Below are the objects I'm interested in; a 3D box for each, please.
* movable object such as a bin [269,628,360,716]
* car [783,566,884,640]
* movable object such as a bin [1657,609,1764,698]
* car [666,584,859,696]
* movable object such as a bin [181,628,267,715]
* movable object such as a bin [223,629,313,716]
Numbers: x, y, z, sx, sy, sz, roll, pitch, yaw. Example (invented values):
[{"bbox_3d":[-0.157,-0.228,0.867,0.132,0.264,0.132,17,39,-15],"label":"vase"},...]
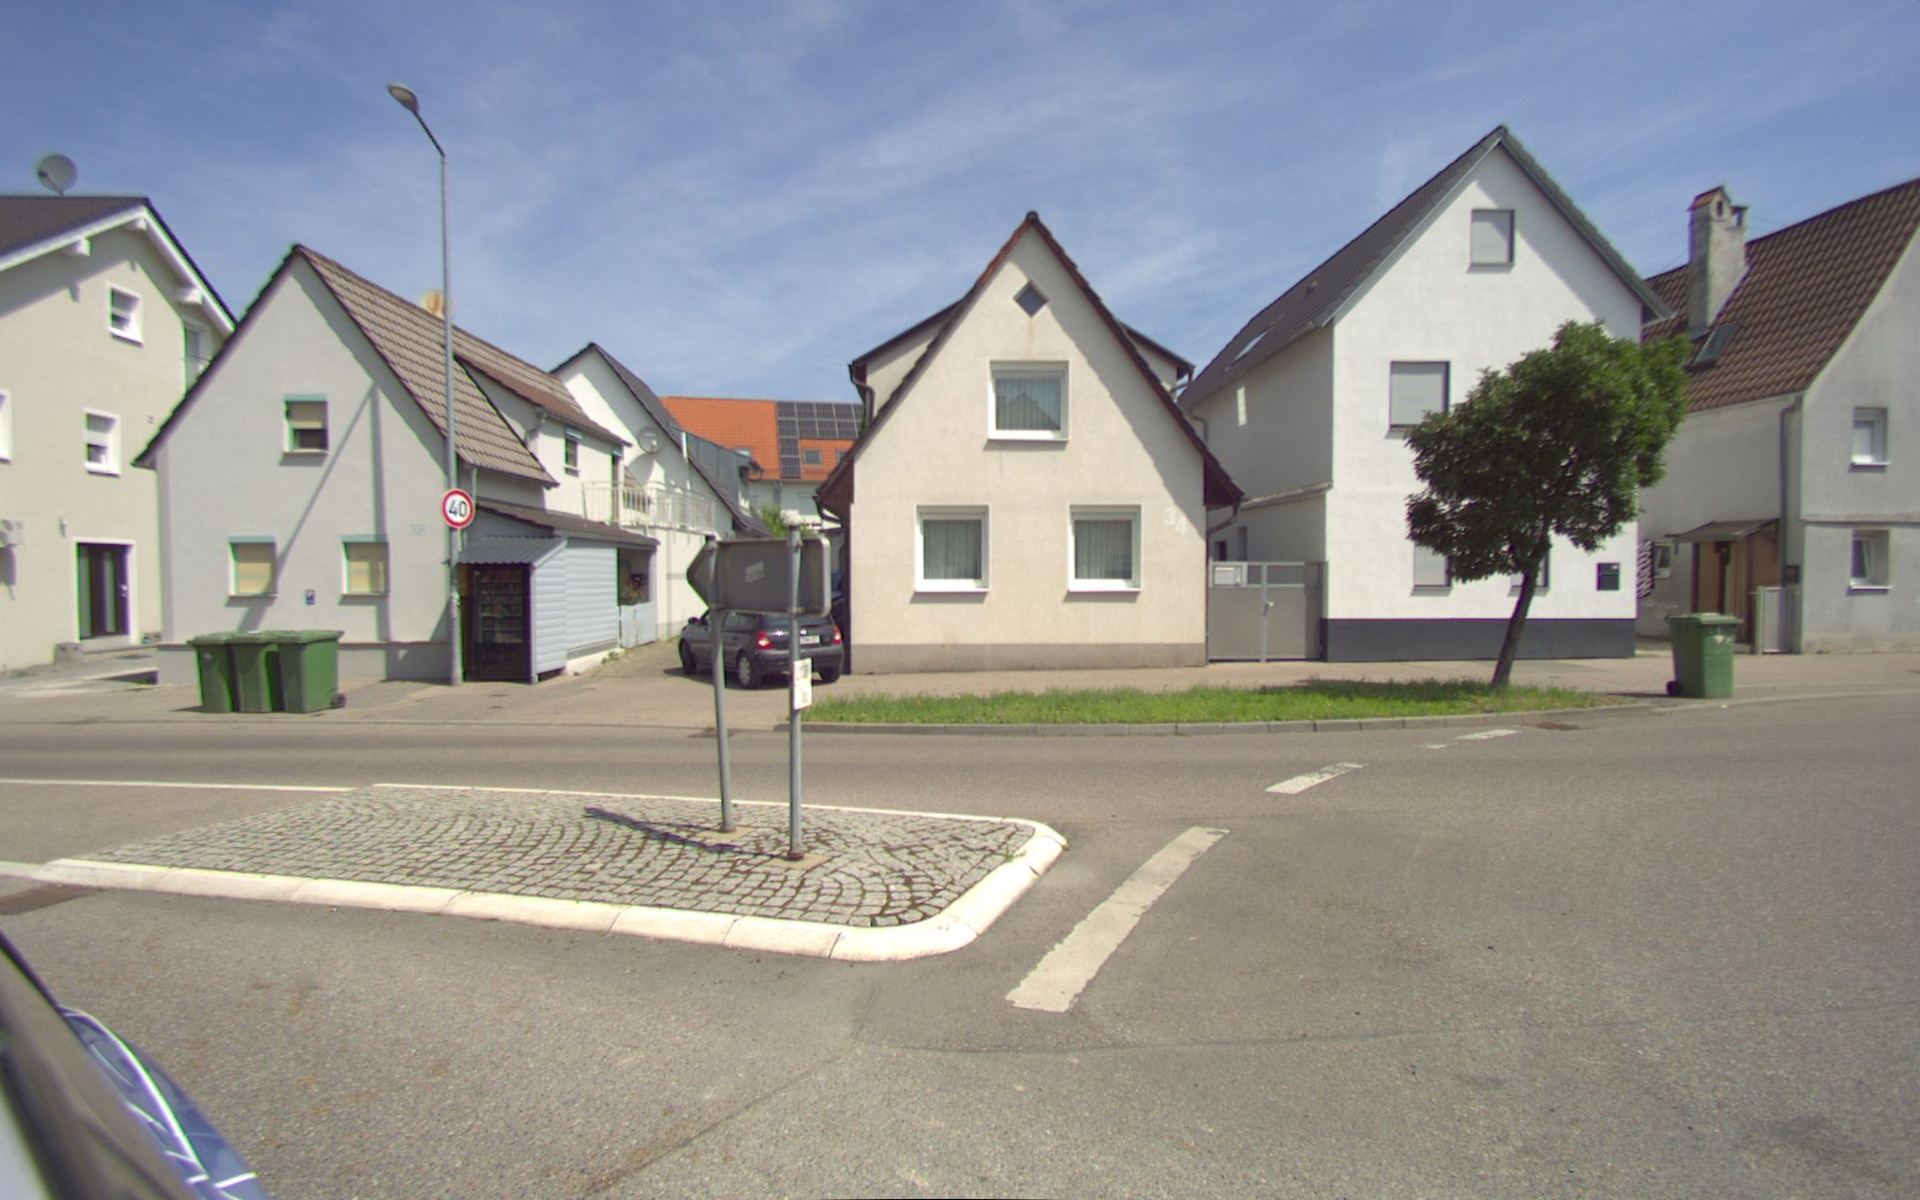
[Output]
[{"bbox_3d":[-8.631,0.953,13.550,0.717,1.085,0.681,-1,3,7],"label":"movable object such as a bin"},{"bbox_3d":[-3.060,0.062,25.281,1.972,1.657,3.870,-1,0,1],"label":"car"},{"bbox_3d":[9.443,0.653,12.757,0.570,1.056,0.905,-1,0,-13],"label":"movable object such as a bin"},{"bbox_3d":[-3.358,0.546,16.681,1.749,1.451,3.858,-3,4,-34],"label":"car"},{"bbox_3d":[-9.986,0.964,13.743,0.624,1.101,0.642,-1,3,7],"label":"movable object such as a bin"},{"bbox_3d":[-9.329,0.966,13.661,0.625,1.085,0.731,-1,3,7],"label":"movable object such as a bin"}]
